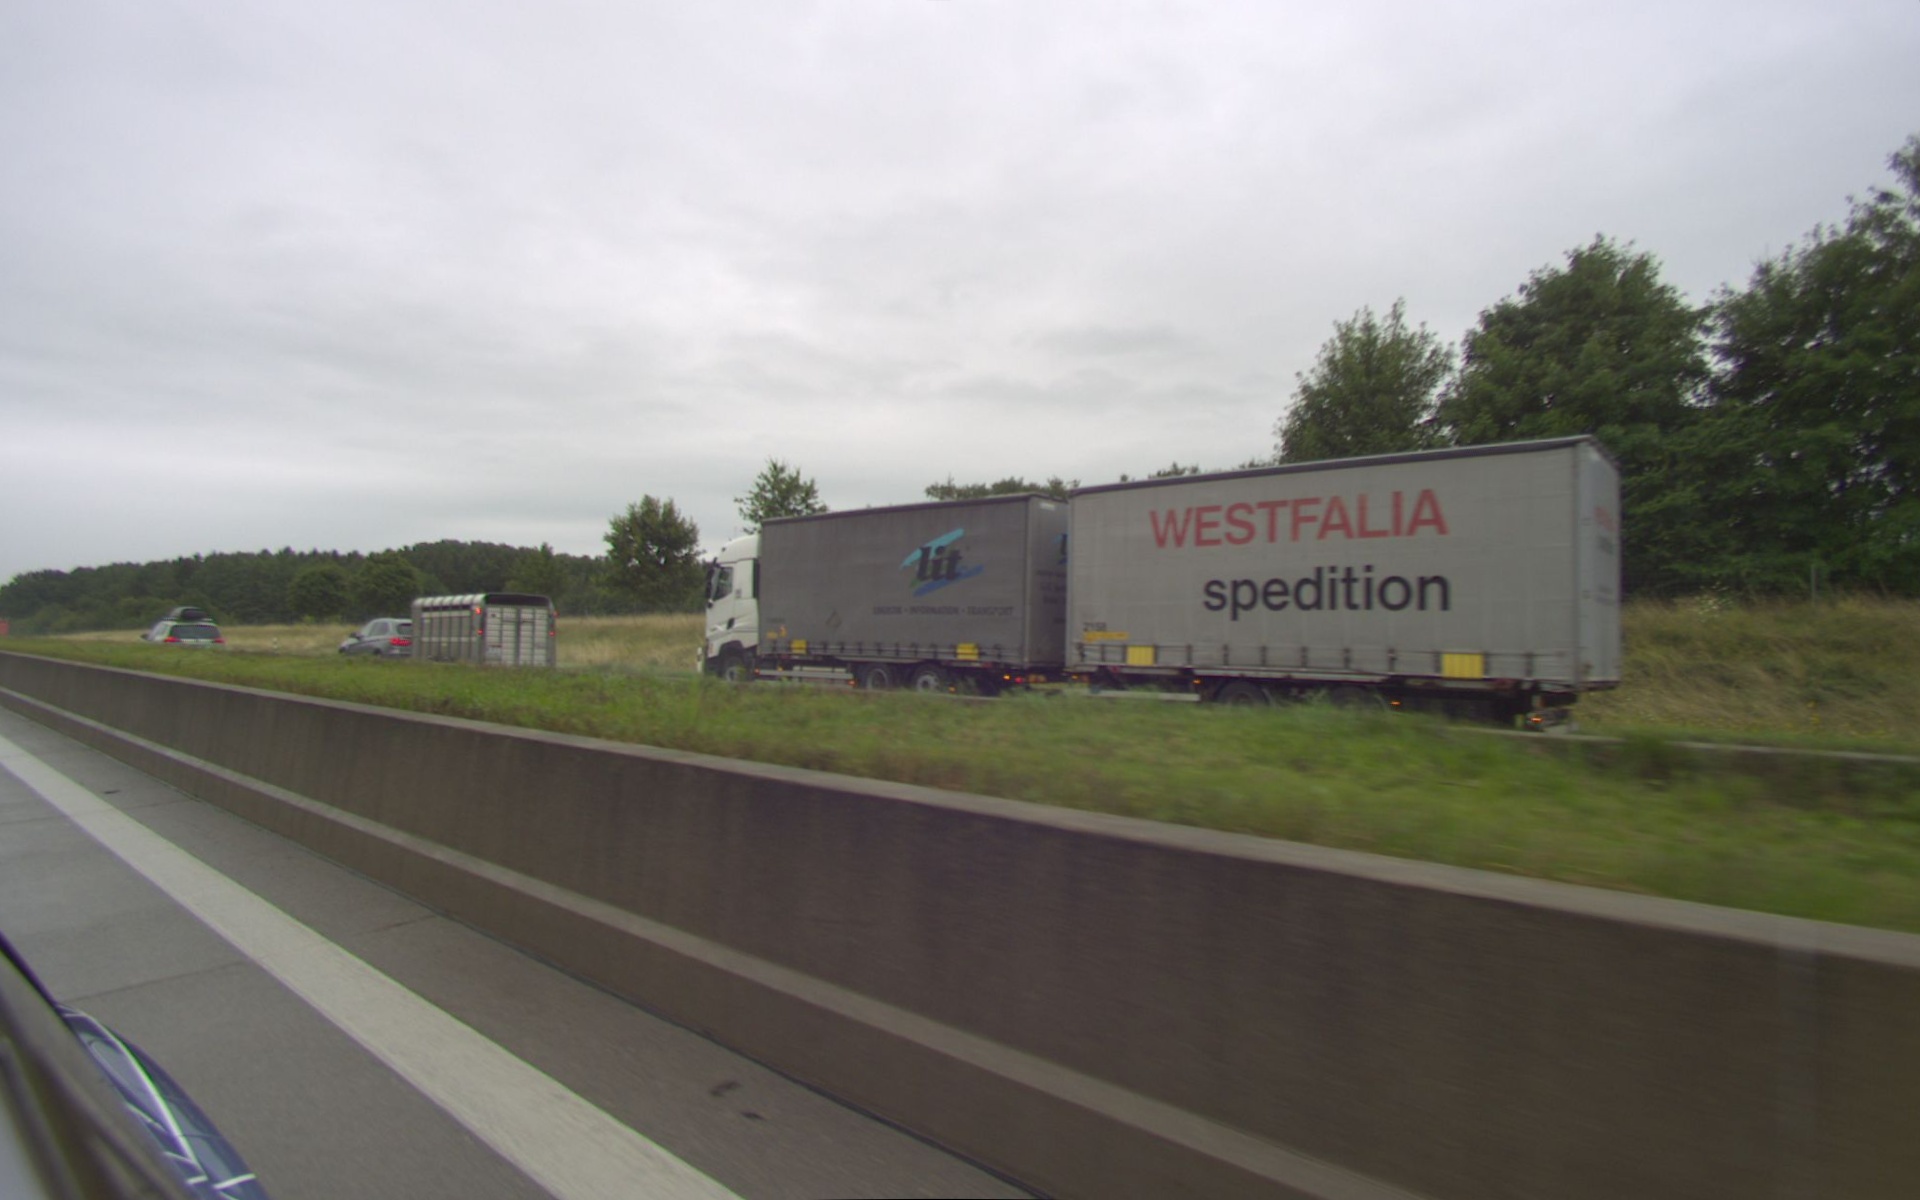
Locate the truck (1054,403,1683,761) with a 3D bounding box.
[{"bbox_3d":[5.706,-0.081,15.578,8.587,4.172,2.558,-1,-4,41],"label":"truck"}]

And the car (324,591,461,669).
[{"bbox_3d":[-17.318,0.894,30.767,5.204,2.197,1.973,-1,-2,41],"label":"car"}]

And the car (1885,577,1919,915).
[{"bbox_3d":[7.040,0.708,4.323,4.452,1.699,1.742,-1,-2,41],"label":"car"}]

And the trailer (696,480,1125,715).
[{"bbox_3d":[-1.566,0.142,21.937,10.368,4.078,2.559,-2,-4,41],"label":"trailer"}]

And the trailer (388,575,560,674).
[{"bbox_3d":[-13.146,0.663,27.172,5.830,2.391,2.017,-2,-2,41],"label":"trailer"}]

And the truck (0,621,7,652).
[{"bbox_3d":[-138.642,5.122,144.335,13.099,4.238,2.725,0,-2,42],"label":"truck"}]

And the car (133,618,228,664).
[{"bbox_3d":[-26.906,1.376,34.892,4.446,1.480,1.737,-1,-2,41],"label":"car"}]
